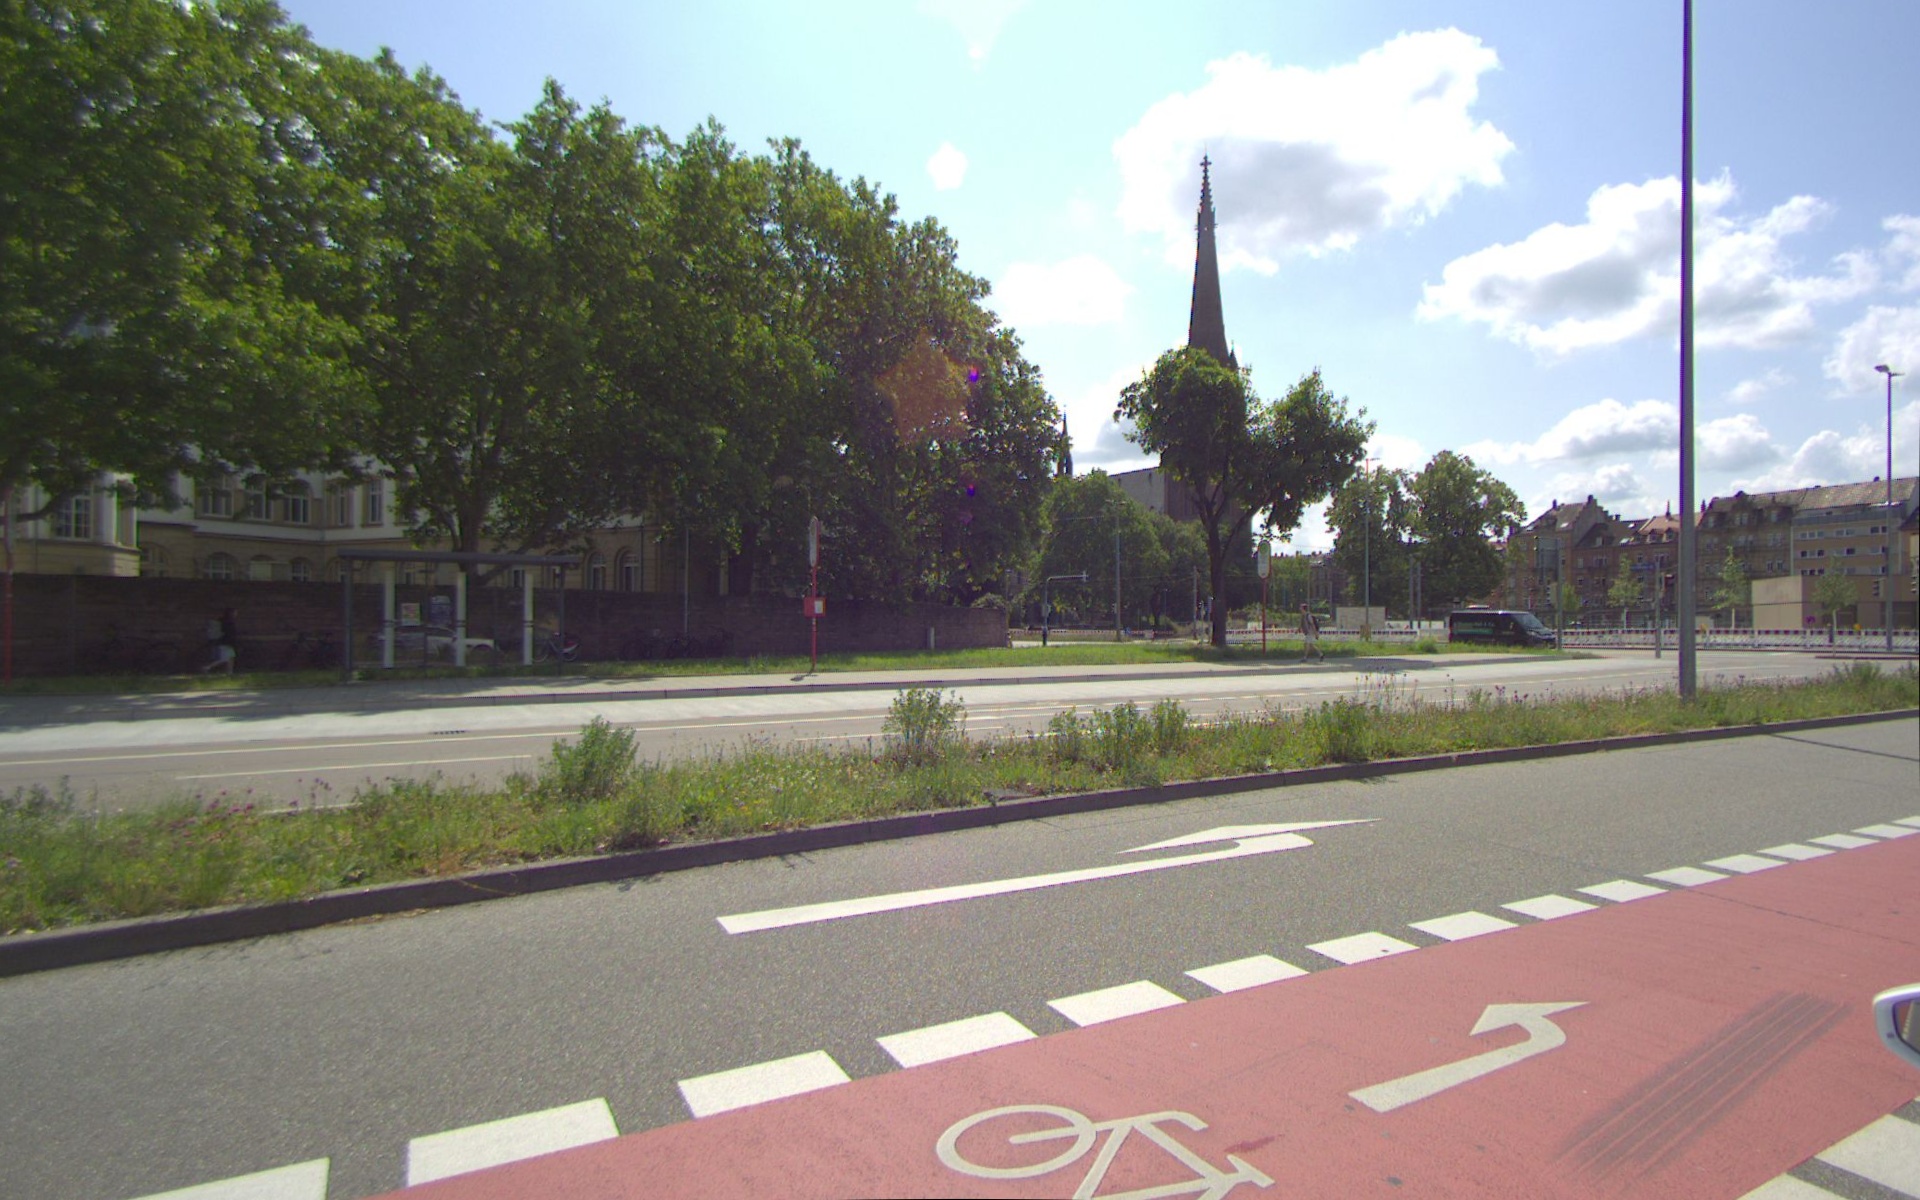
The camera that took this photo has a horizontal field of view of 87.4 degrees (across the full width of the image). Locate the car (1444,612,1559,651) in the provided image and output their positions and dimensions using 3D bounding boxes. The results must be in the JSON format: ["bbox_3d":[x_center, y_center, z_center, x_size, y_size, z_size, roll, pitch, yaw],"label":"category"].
[{"bbox_3d":[27.866,1.602,51.851,1.908,1.904,4.980,0,-1,-33],"label":"car"}]

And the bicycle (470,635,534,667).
[{"bbox_3d":[-13.535,1.497,29.705,0.537,0.914,1.658,0,-1,39],"label":"bicycle"}]

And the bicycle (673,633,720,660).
[{"bbox_3d":[-9.396,1.636,35.858,0.536,0.914,1.660,0,-1,34],"label":"bicycle"}]

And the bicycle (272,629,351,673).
[{"bbox_3d":[-16.444,1.275,25.503,0.538,1.065,1.615,0,-1,43],"label":"bicycle"}]

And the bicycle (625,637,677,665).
[{"bbox_3d":[-10.466,1.722,34.067,0.537,0.914,1.658,0,-1,39],"label":"bicycle"}]

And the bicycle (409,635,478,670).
[{"bbox_3d":[-14.551,1.467,28.352,0.537,0.914,1.658,0,-1,39],"label":"bicycle"}]

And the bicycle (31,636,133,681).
[{"bbox_3d":[-19.356,1.273,22.161,0.538,0.914,1.655,0,-1,44],"label":"bicycle"}]

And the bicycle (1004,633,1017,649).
[{"bbox_3d":[3.053,2.484,61.081,0.534,0.914,1.666,0,-1,12],"label":"bicycle"}]

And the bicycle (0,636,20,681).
[{"bbox_3d":[-20.454,1.213,20.597,1.648,0.914,0.498,1,-1,-34],"label":"bicycle"}]

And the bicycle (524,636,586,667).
[{"bbox_3d":[-12.557,1.580,31.196,0.446,0.914,1.786,0,-1,39],"label":"bicycle"}]

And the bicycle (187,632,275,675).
[{"bbox_3d":[-17.591,1.277,24.268,0.538,0.964,1.656,0,-1,43],"label":"bicycle"}]

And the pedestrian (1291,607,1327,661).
[{"bbox_3d":[10.347,1.017,29.819,0.859,1.580,0.555,0,-1,-4],"label":"pedestrian"}]

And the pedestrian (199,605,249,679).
[{"bbox_3d":[-16.673,0.933,22.753,0.607,1.638,0.754,1,0,39],"label":"pedestrian"}]

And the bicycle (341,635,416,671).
[{"bbox_3d":[-15.602,1.407,26.991,0.537,0.914,1.658,0,-1,39],"label":"bicycle"}]
